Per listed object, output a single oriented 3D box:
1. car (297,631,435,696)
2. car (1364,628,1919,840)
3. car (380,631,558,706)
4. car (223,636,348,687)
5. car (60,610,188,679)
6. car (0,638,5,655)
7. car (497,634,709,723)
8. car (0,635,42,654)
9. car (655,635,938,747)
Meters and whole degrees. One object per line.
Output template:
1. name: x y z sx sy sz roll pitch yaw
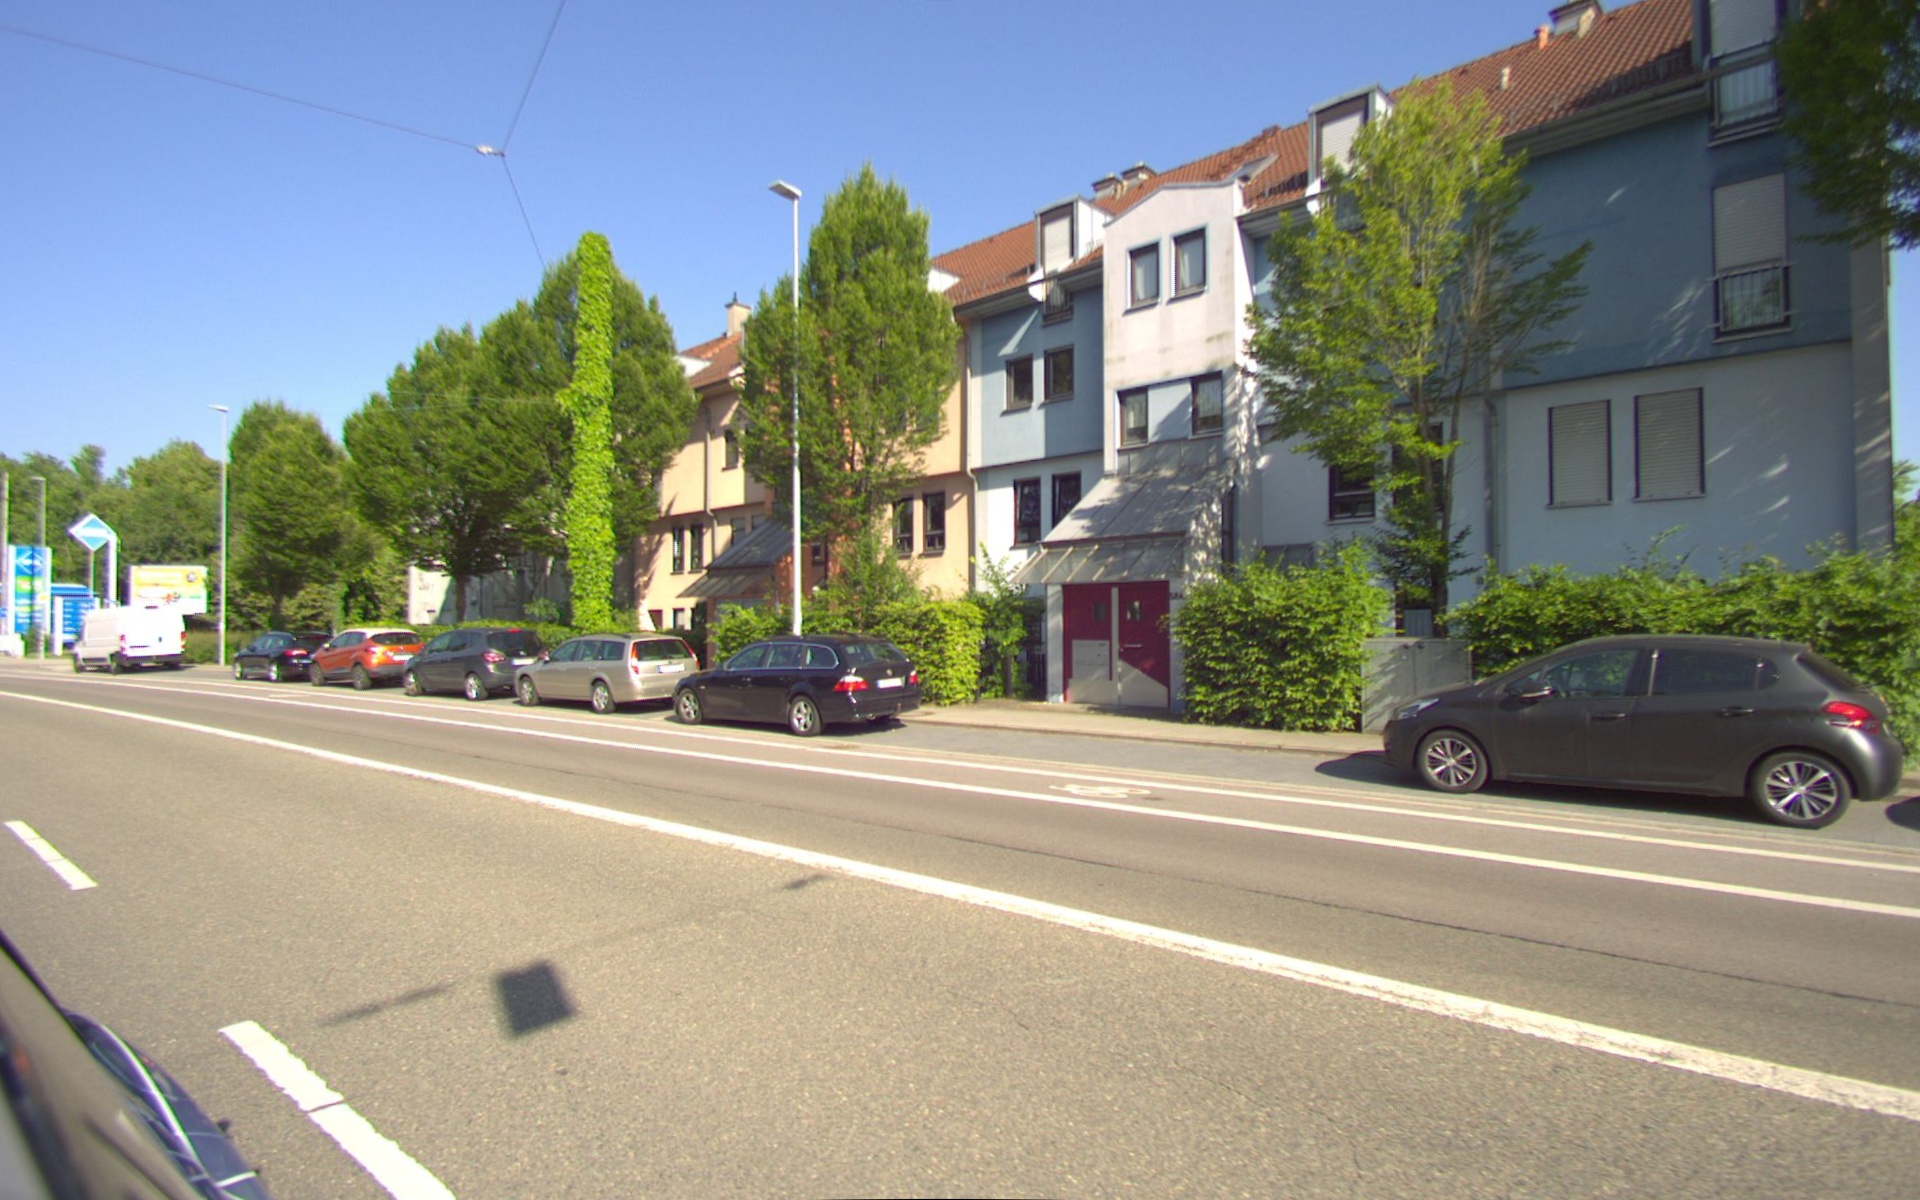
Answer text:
1. car: -16.074 1.648 27.319 4.154 1.586 1.746 -1 -2 37
2. car: 5.999 1.026 9.144 4.056 1.477 1.599 -2 -1 41
3. car: -11.524 1.535 23.669 4.425 1.586 1.748 -1 -1 34
4. car: -20.385 1.824 30.529 4.704 1.435 1.637 -2 -3 37
5. car: -32.503 1.707 39.273 6.167 2.476 2.134 -2 0 34
6. car: -83.949 4.003 87.101 4.265 1.502 1.721 -2 -3 35
7. car: -7.253 1.477 20.312 4.838 1.482 1.696 -1 0 38
8. car: -94.964 4.421 100.754 1.855 1.955 5.022 -2 -3 38
9. car: -2.777 1.356 16.393 4.905 1.483 1.692 -2 0 40
